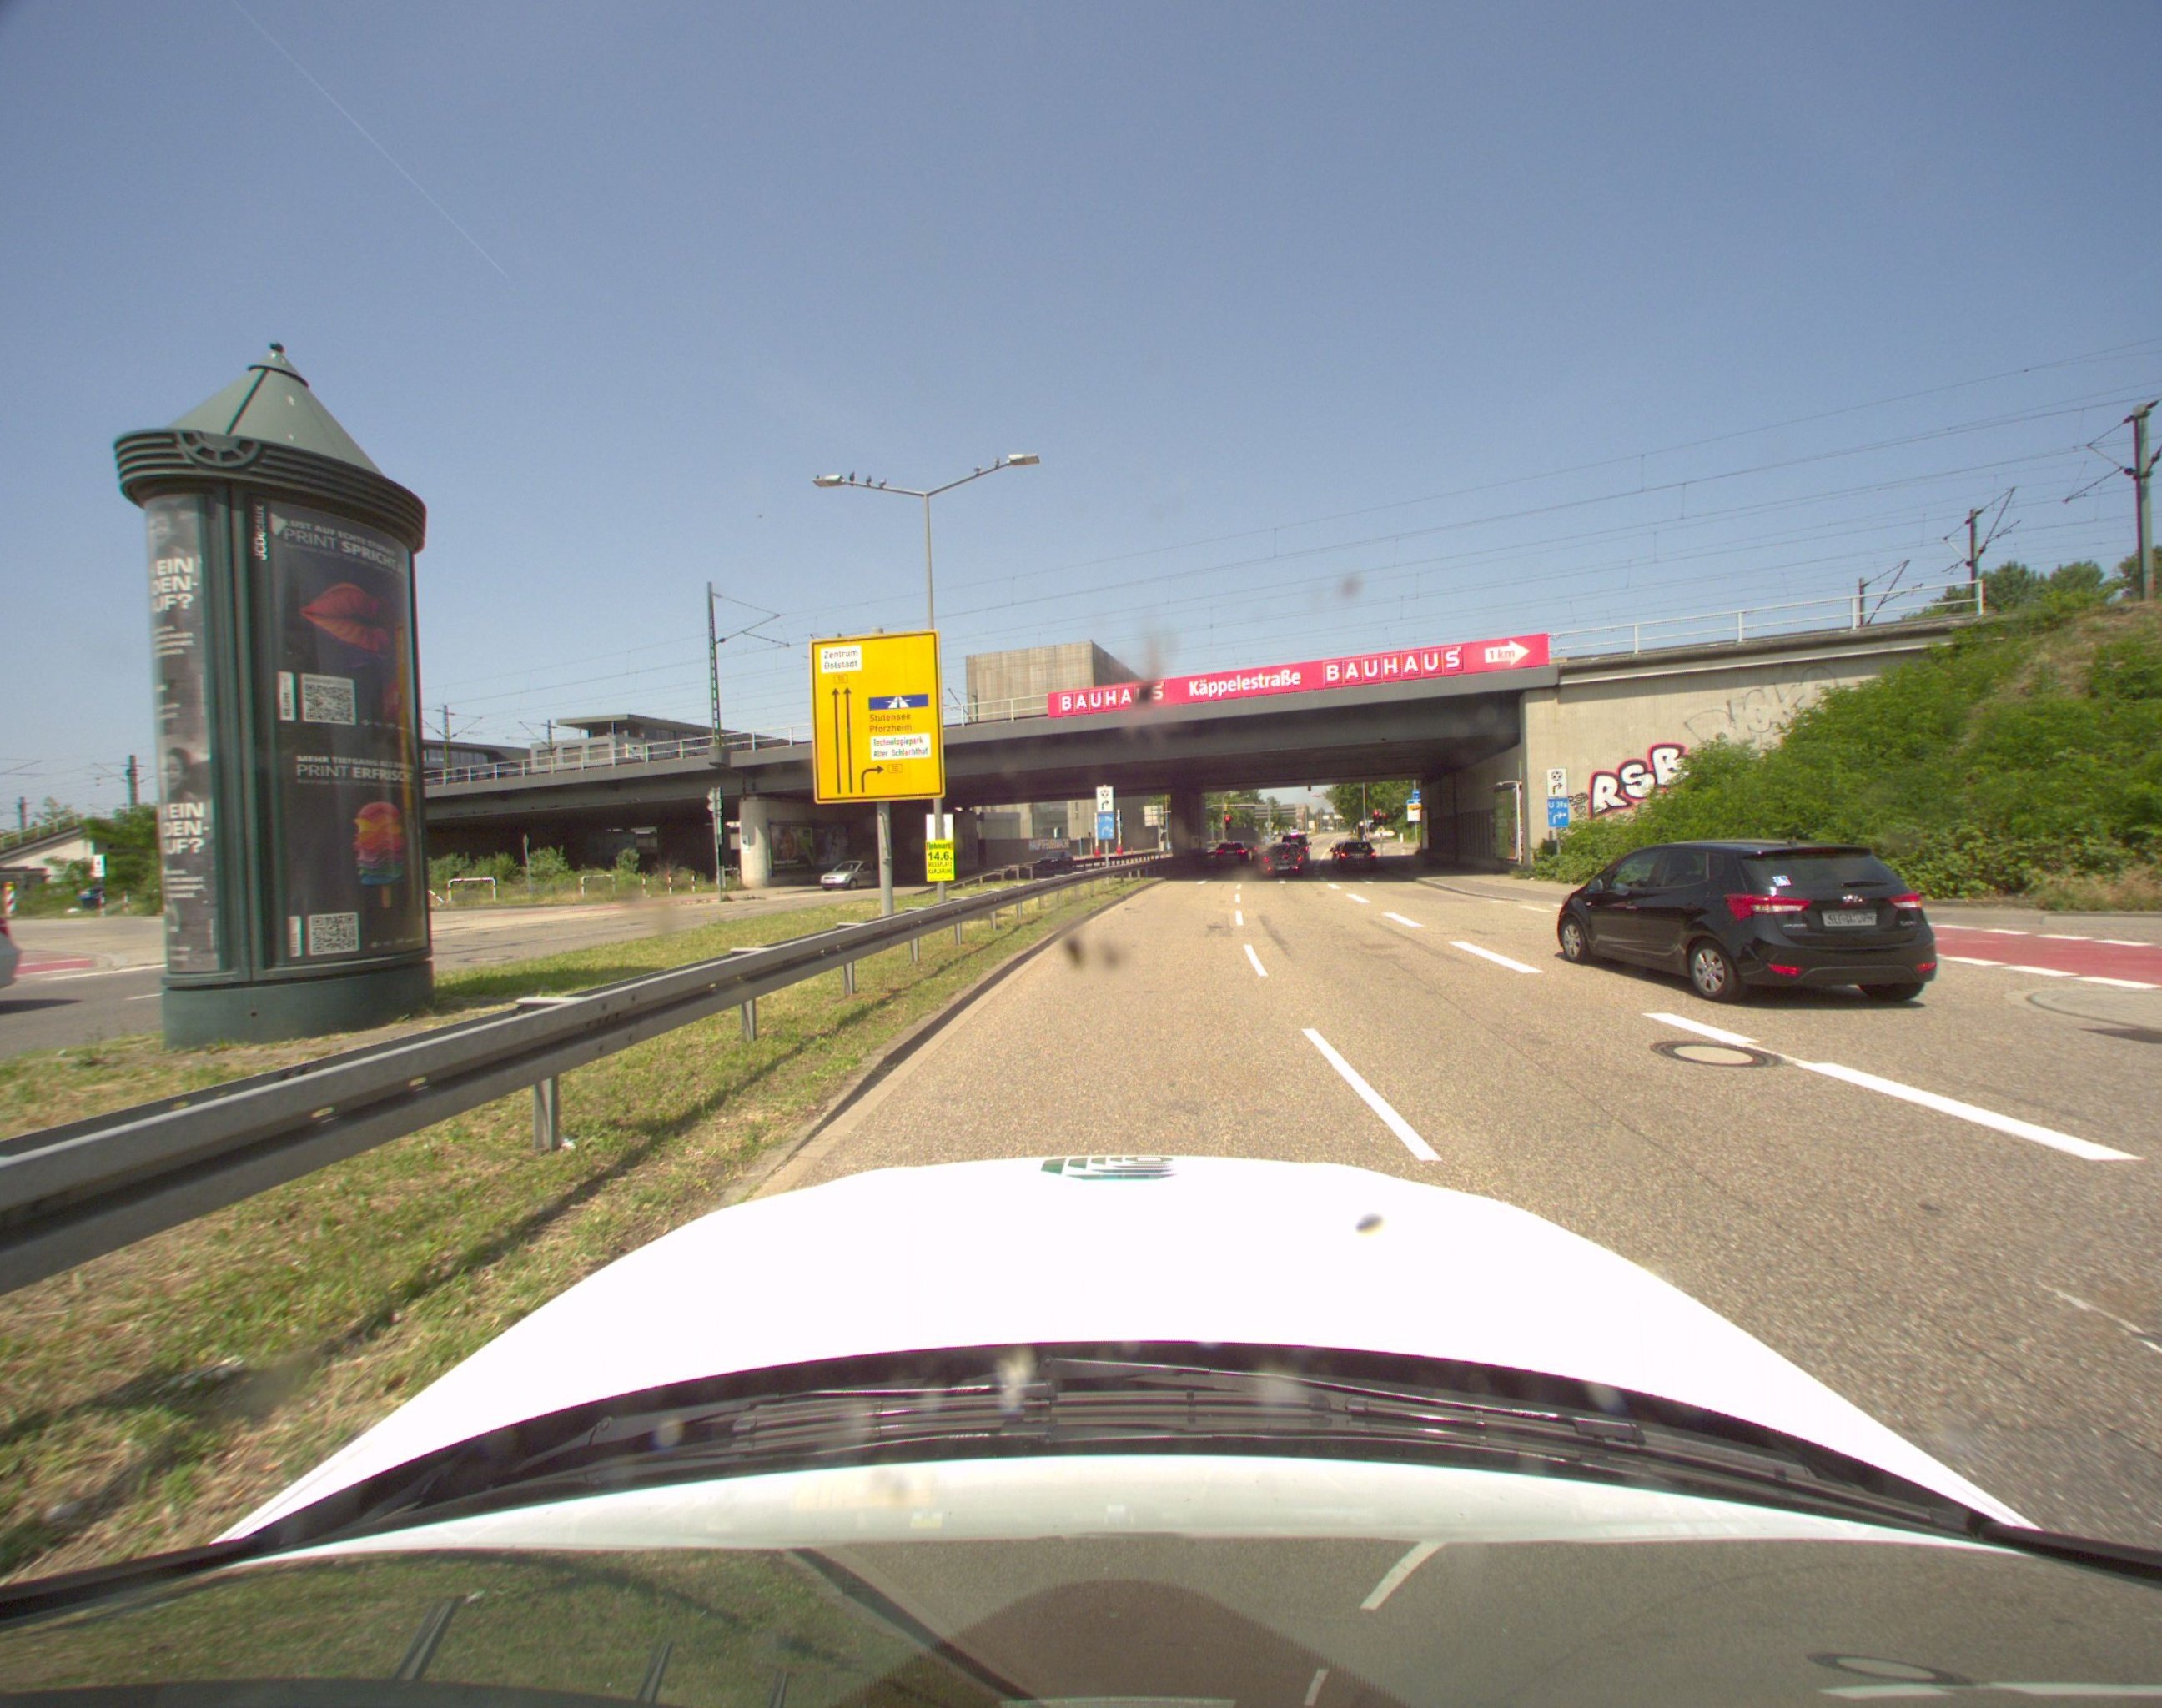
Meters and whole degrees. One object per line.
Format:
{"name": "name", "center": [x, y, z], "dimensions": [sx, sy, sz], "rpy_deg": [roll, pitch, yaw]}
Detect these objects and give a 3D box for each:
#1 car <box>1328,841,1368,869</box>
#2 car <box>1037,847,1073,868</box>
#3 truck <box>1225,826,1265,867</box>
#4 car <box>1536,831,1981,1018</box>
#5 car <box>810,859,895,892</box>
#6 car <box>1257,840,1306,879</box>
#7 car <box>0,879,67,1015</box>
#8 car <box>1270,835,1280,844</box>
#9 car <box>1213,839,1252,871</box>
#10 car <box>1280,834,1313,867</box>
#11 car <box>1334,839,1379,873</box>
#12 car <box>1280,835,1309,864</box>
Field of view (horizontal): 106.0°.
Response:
{"name": "car", "center": [15.419, 0.073, 47.172], "dimensions": [1.891, 1.488, 4.016], "rpy_deg": [-2, 0, 14]}
{"name": "car", "center": [-2.104, 0.268, 67.256], "dimensions": [1.840, 1.622, 4.017], "rpy_deg": [-2, 0, 16]}
{"name": "truck", "center": [11.012, -0.506, 54.524], "dimensions": [2.051, 2.538, 4.019], "rpy_deg": [-3, -1, 18]}
{"name": "car", "center": [7.046, 0.608, 9.151], "dimensions": [1.759, 1.599, 4.081], "rpy_deg": [-1, 0, 3]}
{"name": "car", "center": [-11.299, 1.032, 40.549], "dimensions": [1.976, 1.441, 4.021], "rpy_deg": [-4, -1, 22]}
{"name": "car", "center": [8.984, 0.224, 36.320], "dimensions": [1.942, 1.633, 4.298], "rpy_deg": [-1, 0, 16]}
{"name": "car", "center": [-11.994, 0.969, 6.795], "dimensions": [1.647, 1.379, 4.221], "rpy_deg": [-1, 0, 3]}
{"name": "car", "center": [38.319, -2.890, 161.174], "dimensions": [1.841, 1.622, 4.015], "rpy_deg": [-2, -1, 14]}
{"name": "car", "center": [8.882, 0.069, 47.560], "dimensions": [1.926, 1.721, 4.016], "rpy_deg": [-2, 0, 15]}
{"name": "car", "center": [13.083, -0.182, 49.561], "dimensions": [1.827, 1.890, 4.016], "rpy_deg": [-2, 0, 14]}
{"name": "car", "center": [13.736, 0.106, 40.824], "dimensions": [1.827, 1.568, 4.016], "rpy_deg": [-2, 0, 14]}
{"name": "car", "center": [14.632, -0.297, 55.858], "dimensions": [1.827, 1.890, 4.016], "rpy_deg": [-2, 0, 14]}
